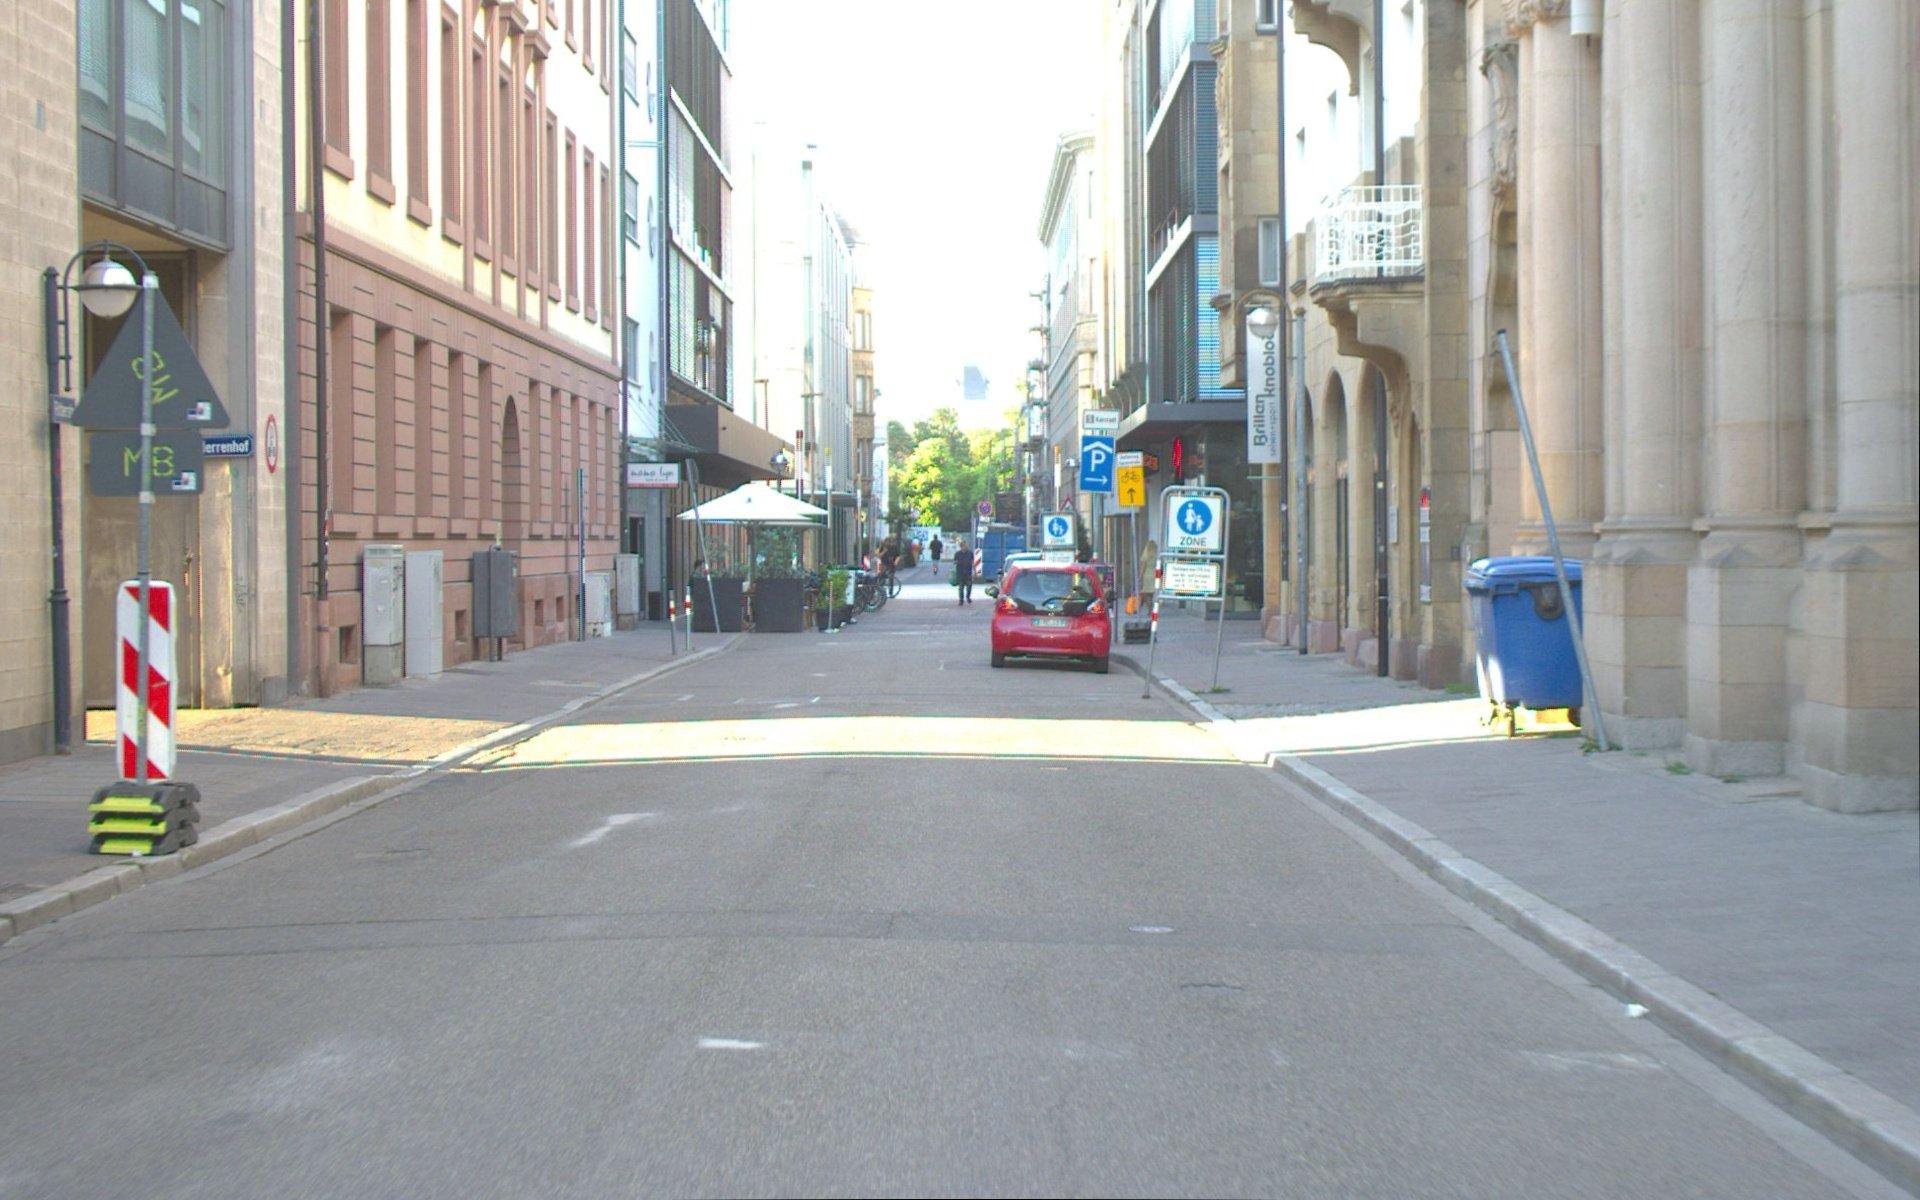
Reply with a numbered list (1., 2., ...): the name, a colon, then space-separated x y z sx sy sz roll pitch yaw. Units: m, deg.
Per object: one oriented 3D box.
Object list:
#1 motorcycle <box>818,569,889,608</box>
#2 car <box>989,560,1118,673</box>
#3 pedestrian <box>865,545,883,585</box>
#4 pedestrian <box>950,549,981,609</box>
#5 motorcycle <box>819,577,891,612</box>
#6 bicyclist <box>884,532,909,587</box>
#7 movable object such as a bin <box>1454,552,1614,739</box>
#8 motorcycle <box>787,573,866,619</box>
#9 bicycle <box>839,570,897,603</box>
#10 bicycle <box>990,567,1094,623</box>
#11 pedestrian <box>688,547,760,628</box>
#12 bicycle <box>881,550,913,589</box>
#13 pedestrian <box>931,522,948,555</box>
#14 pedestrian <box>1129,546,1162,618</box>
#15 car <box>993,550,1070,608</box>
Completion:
1. motorcycle: -2.739 -0.292 88.306 1.801 0.986 0.560 0 1 -4
2. car: 1.259 0.196 47.352 1.649 1.422 3.535 3 1 1
3. pedestrian: -3.451 -1.410 138.146 0.678 1.617 0.625 0 1 2
4. pedestrian: 0.147 -0.608 98.199 0.865 1.707 0.852 0 1 -1
5. motorcycle: -2.668 -0.143 87.277 1.801 0.872 0.560 0 1 -4
6. bicyclist: -1.925 -1.229 104.520 0.636 1.635 0.772 -1 1 -9
7. movable object such as a bin: 4.397 0.334 26.420 0.990 1.387 1.241 -1 1 0
8. motorcycle: -3.067 -0.096 79.092 1.801 1.037 0.494 0 1 -4
9. bicycle: -2.526 -0.363 94.126 1.518 0.893 0.485 0 1 -27
10. bicycle: 1.652 -0.102 69.192 2.052 1.130 0.649 0 1 -3
11. pedestrian: -4.343 -0.237 63.259 1.290 1.482 0.661 0 1 -2
12. bicycle: -1.927 -0.938 104.575 0.636 1.153 2.502 -1 1 -9
13. pedestrian: -1.042 -3.111 174.182 0.804 1.667 0.888 0 1 2
14. pedestrian: 3.840 -0.368 71.211 0.656 1.482 0.493 0 1 2
15. car: 2.003 -0.602 96.893 1.993 1.605 4.000 0 1 -1
